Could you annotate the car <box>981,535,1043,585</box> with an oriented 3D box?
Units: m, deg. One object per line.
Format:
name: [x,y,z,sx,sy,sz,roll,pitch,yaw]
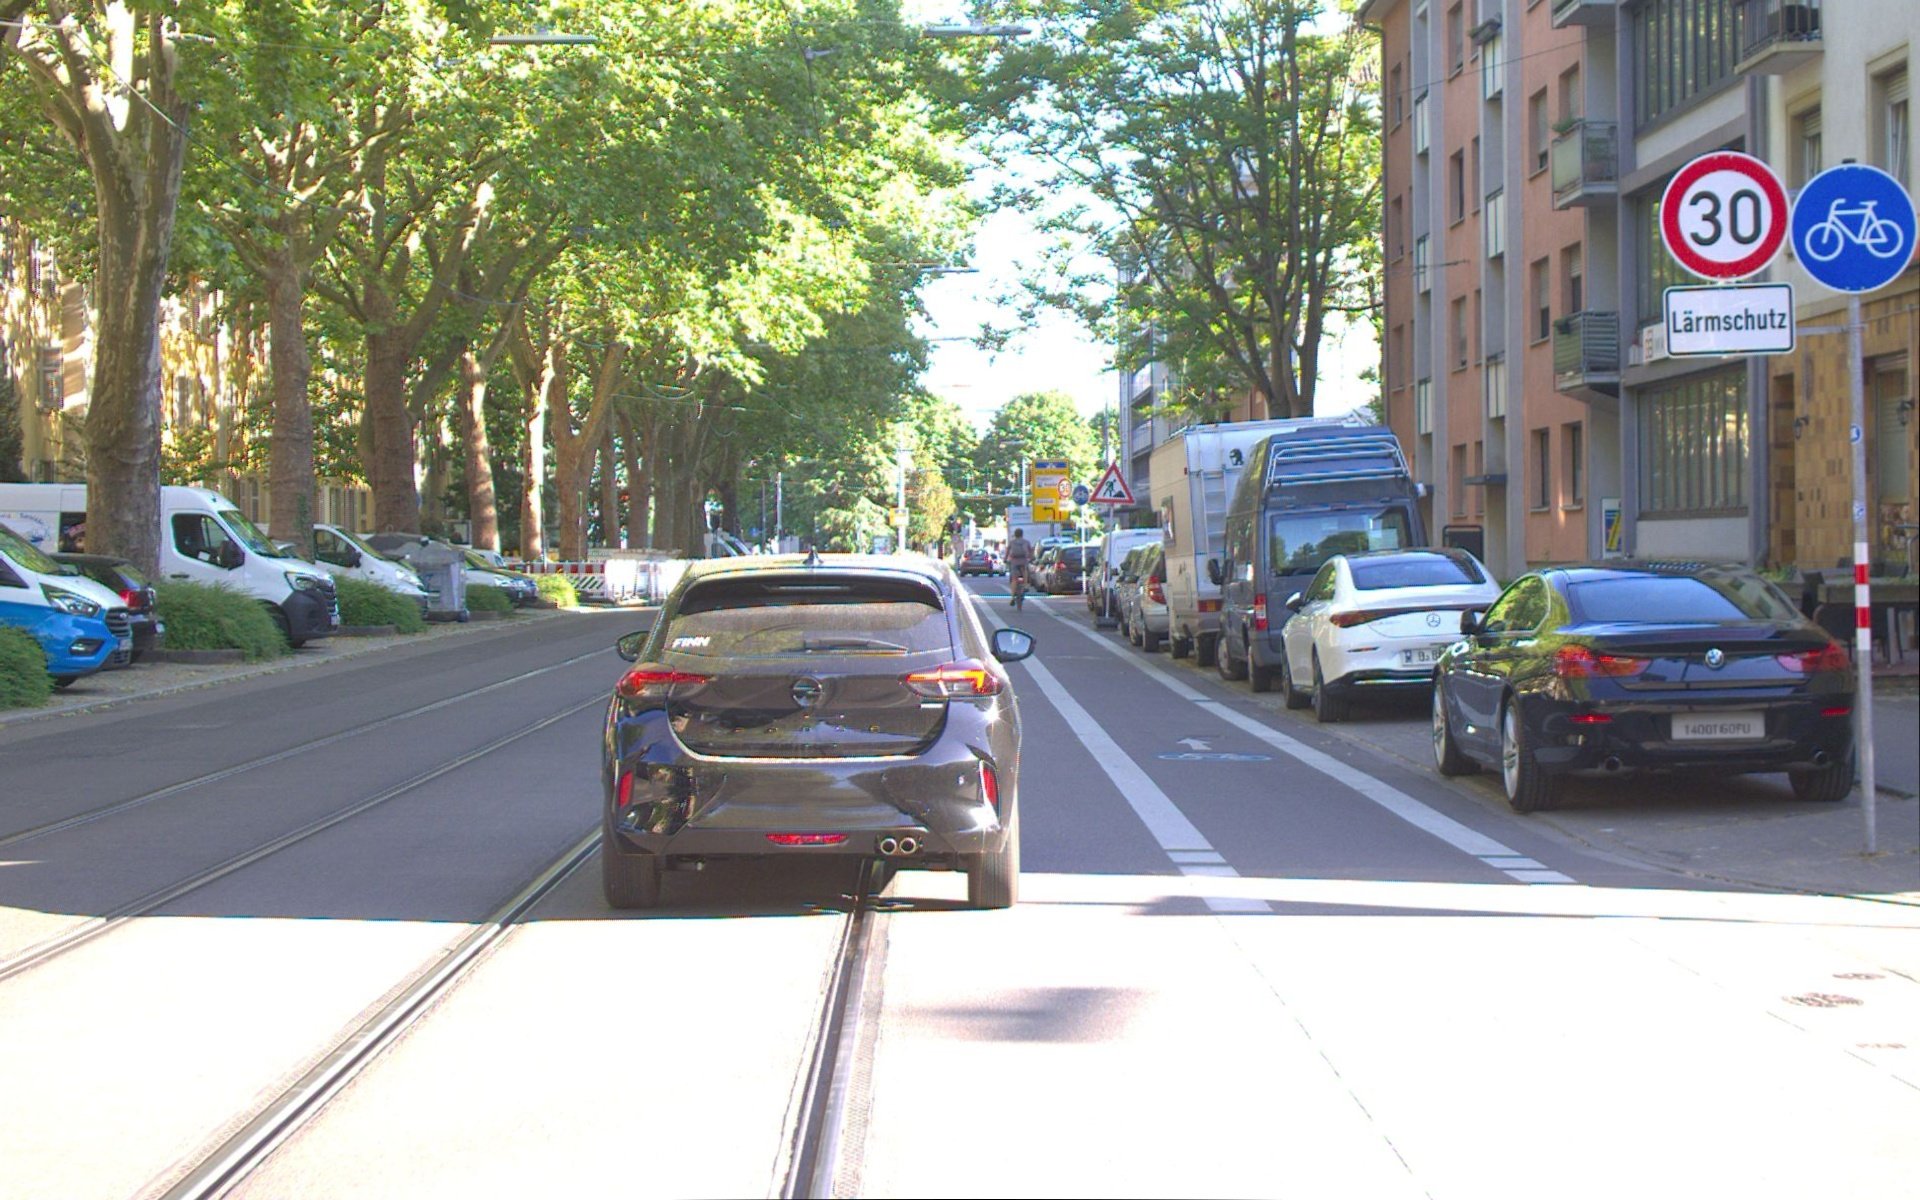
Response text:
car: [2.004,-1.555,133.870,2.254,1.834,5.531,-2,1,0]

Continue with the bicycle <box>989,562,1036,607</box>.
bicycle: [1.192,-0.370,78.835,0.968,0.995,2.583,0,1,-2]

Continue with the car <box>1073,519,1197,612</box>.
car: [3.640,-0.743,72.671,2.254,1.834,5.531,-2,1,0]

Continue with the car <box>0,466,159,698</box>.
car: [-11.499,-0.071,37.154,5.036,2.366,2.081,-4,1,0]

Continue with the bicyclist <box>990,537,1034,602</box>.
bicyclist: [1.188,-0.704,78.810,0.958,1.494,1.094,0,1,-2]

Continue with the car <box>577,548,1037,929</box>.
car: [-0.593,0.503,15.196,1.763,1.455,3.950,0,1,0]

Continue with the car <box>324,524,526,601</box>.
car: [-11.845,-0.832,76.174,4.353,1.659,2.001,0,1,-9]

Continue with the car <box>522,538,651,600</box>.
car: [-12.188,-1.022,112.440,3.987,2.007,2.000,0,1,1]

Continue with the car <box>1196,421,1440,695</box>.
car: [3.846,-0.491,37.713,2.085,2.762,4.698,-2,1,0]

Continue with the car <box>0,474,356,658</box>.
car: [-11.814,-0.500,49.866,5.639,2.584,2.196,0,1,4]

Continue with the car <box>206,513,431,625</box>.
car: [-11.709,-0.573,63.012,3.986,2.007,2.001,0,1,-9]

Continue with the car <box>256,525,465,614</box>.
car: [-12.307,-0.640,70.756,4.175,1.788,2.001,0,1,-9]

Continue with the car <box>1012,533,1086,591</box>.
car: [2.930,-1.271,114.534,2.254,1.834,5.531,-2,1,0]

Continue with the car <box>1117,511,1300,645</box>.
car: [3.646,-0.355,51.482,2.254,1.834,5.531,-2,1,0]

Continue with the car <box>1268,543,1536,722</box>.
car: [3.846,0.276,30.519,1.803,1.429,4.000,-2,0,0]

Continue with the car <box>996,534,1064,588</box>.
car: [2.514,-1.429,124.356,2.254,1.834,5.531,-2,1,0]

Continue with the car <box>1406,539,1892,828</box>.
car: [3.933,0.407,20.424,1.884,1.429,4.530,-3,1,0]

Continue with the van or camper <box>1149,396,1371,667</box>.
van or camper: [3.779,-0.863,44.274,2.254,3.205,5.531,-2,1,0]
